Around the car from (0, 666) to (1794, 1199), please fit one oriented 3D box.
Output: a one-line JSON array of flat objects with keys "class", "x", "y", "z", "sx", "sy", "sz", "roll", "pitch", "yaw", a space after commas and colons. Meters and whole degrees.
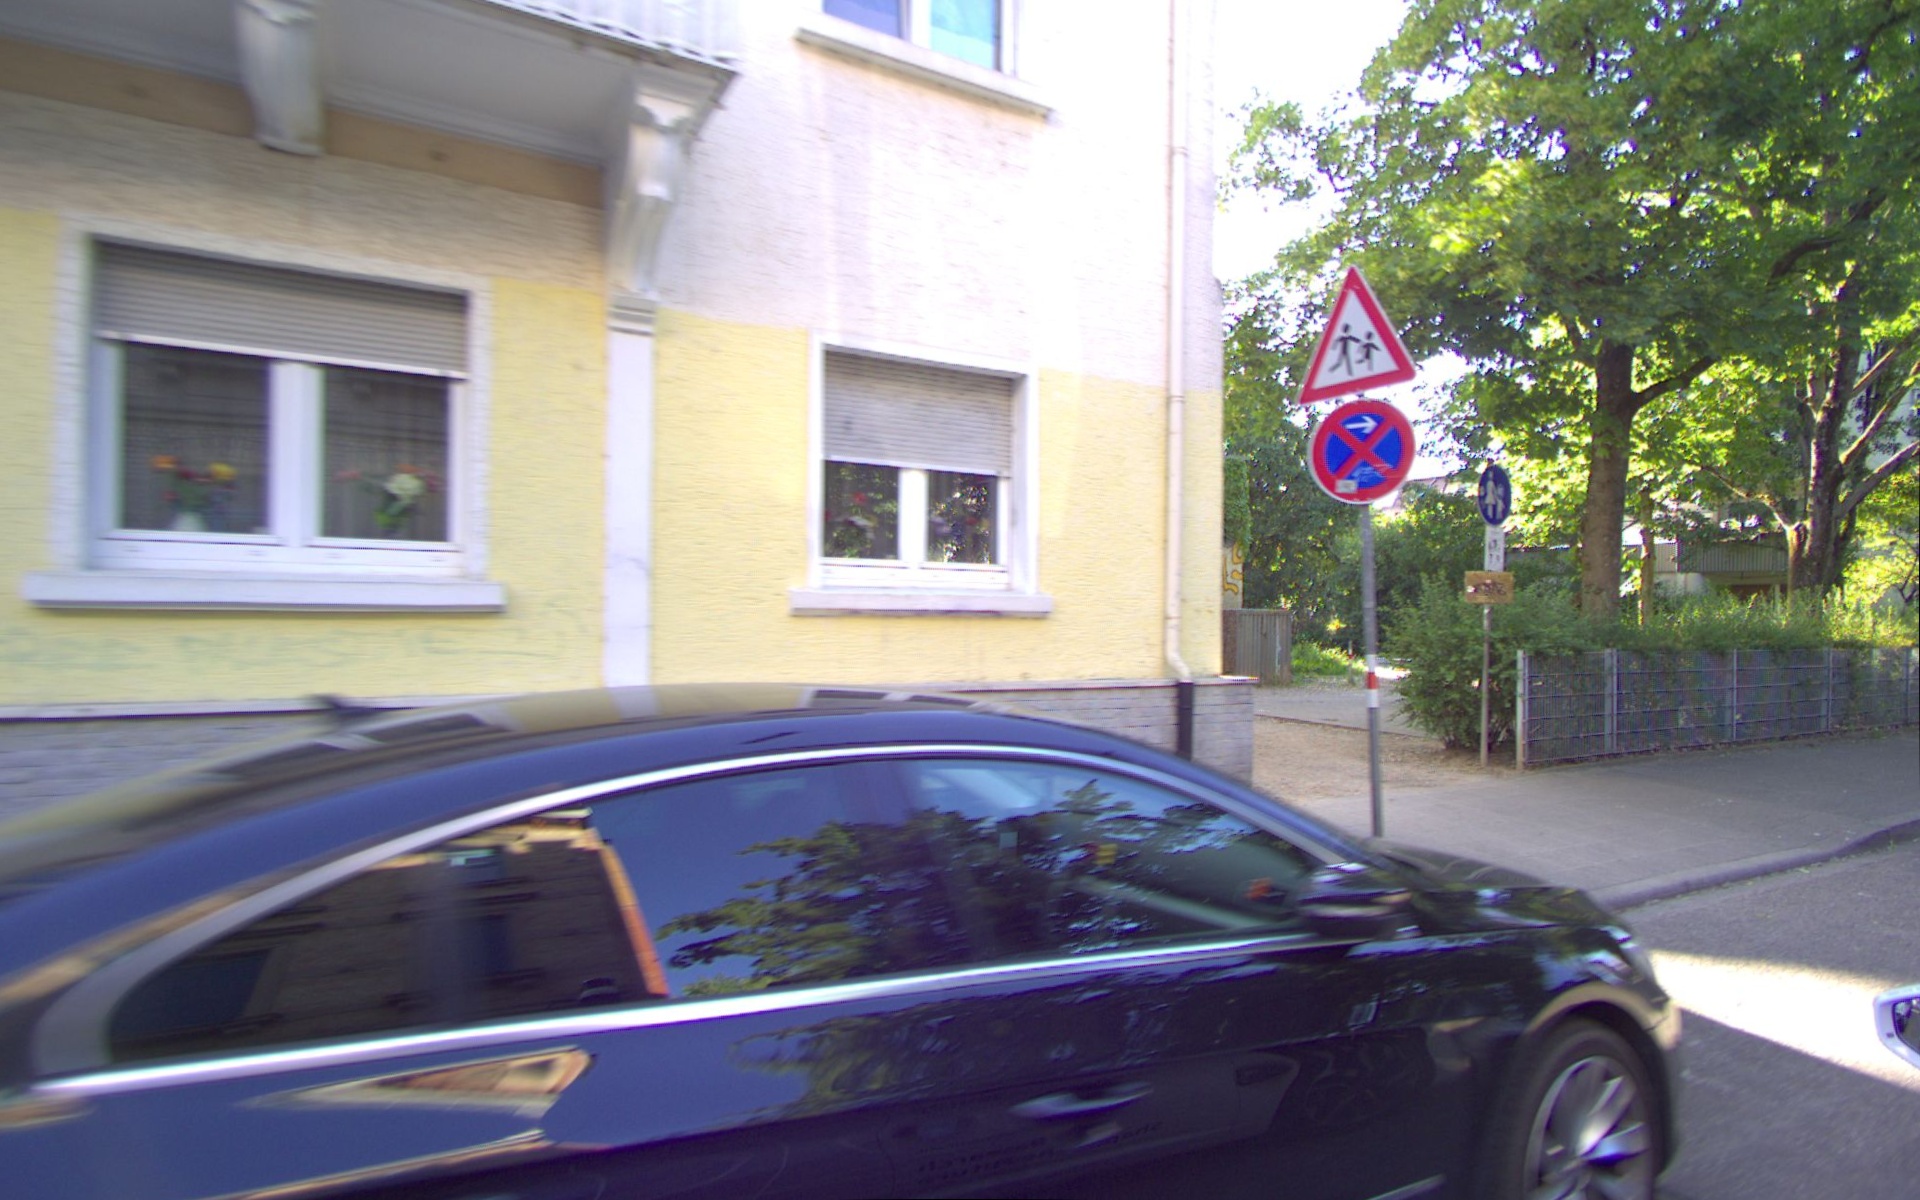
[{"class": "car", "x": -0.202, "y": 0.906, "z": 2.276, "sx": 4.340, "sy": 1.462, "sz": 1.772, "roll": 2, "pitch": -4, "yaw": -30}]
